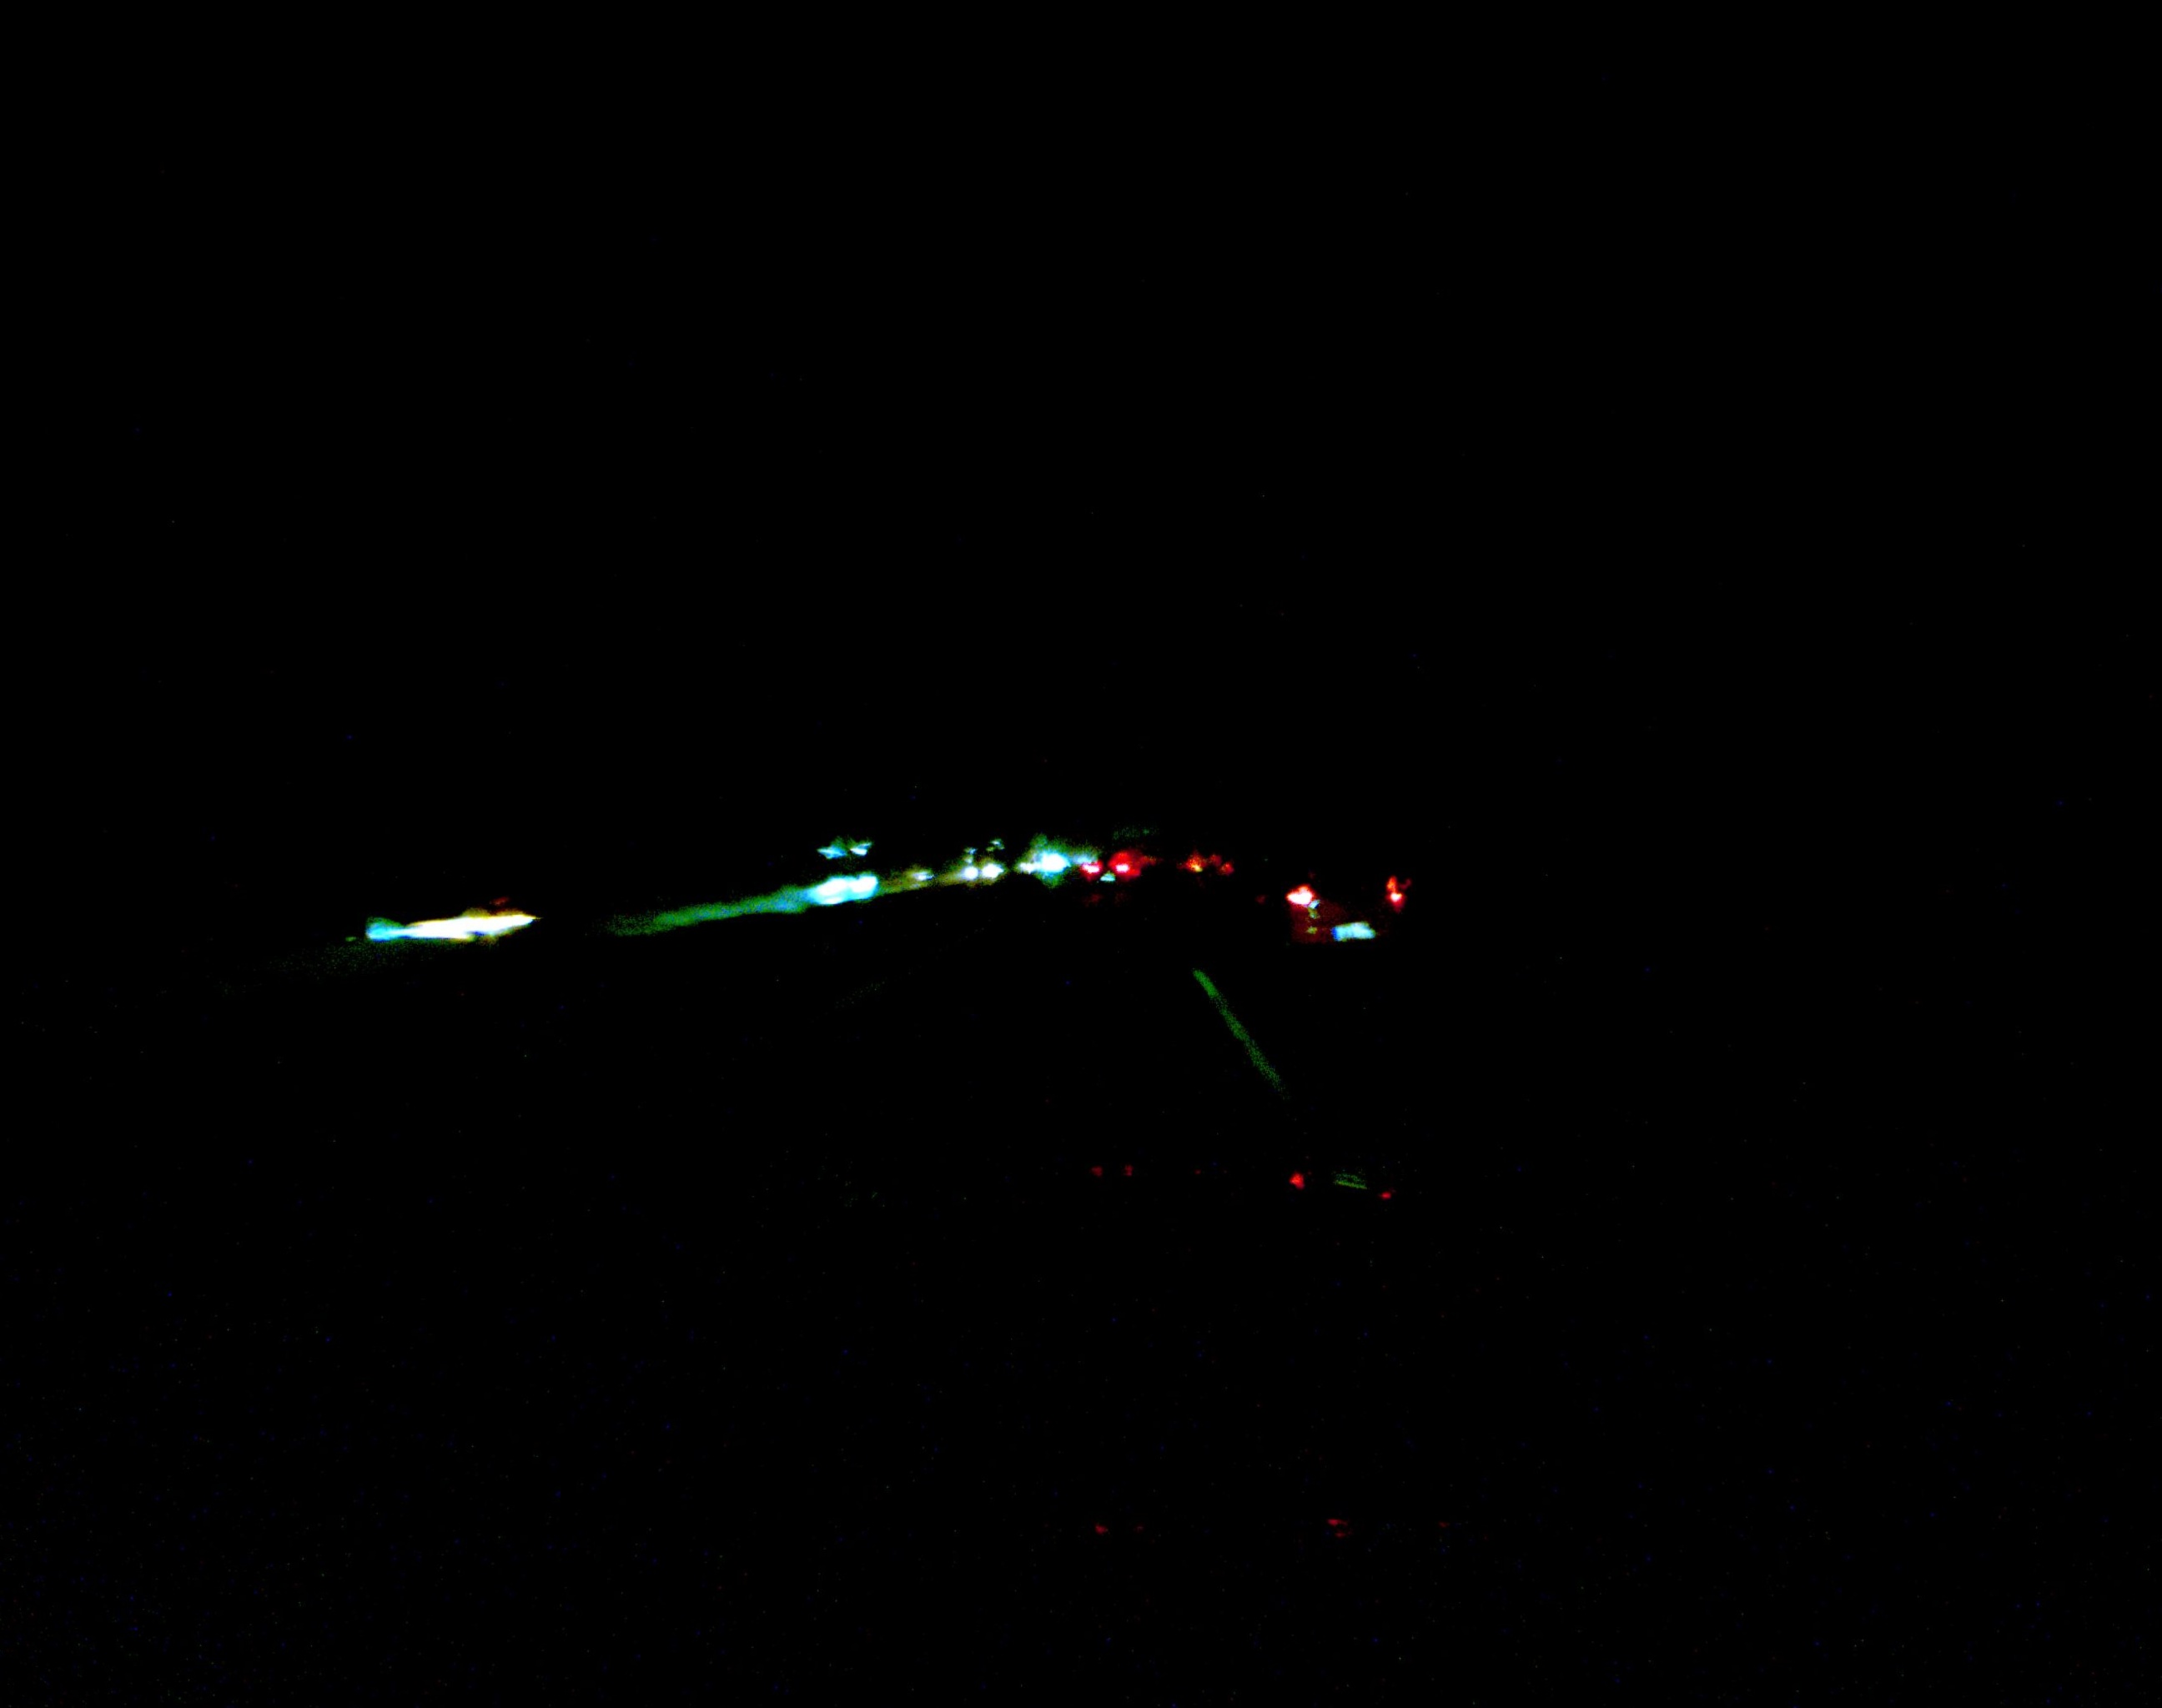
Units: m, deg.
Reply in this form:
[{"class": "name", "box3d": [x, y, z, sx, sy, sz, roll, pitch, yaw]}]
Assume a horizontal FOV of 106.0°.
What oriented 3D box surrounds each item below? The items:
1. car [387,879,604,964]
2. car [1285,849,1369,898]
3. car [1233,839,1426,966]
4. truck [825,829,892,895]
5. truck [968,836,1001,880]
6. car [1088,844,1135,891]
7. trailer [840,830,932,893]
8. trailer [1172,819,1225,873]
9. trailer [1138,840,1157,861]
[{"class": "car", "box3d": [-14.814, 1.616, 21.069, 1.987, 1.774, 4.958, -1, -1, 0]}, {"class": "car", "box3d": [8.346, 0.626, 28.000, 1.634, 1.503, 4.013, -2, 0, 0]}, {"class": "car", "box3d": [3.600, 0.669, 12.697, 1.734, 1.575, 4.495, -2, -1, 2]}, {"class": "truck", "box3d": [-14.903, 0.535, 54.971, 2.680, 4.221, 5.738, -1, 0, 2]}, {"class": "truck", "box3d": [-9.966, 0.437, 84.543, 2.681, 4.381, 5.736, -1, 0, 1]}, {"class": "car", "box3d": [1.365, 0.591, 37.419, 1.986, 2.013, 4.001, -1, 0, 1]}, {"class": "trailer", "box3d": [-14.560, 0.559, 62.716, 2.680, 4.221, 15.652, -1, 0, 2]}, {"class": "trailer", "box3d": [10.048, -0.558, 71.185, 2.892, 4.109, 14.493, -3, -1, 2]}, {"class": "trailer", "box3d": [15.061, -0.670, 184.804, 3.031, 4.109, 13.828, -3, -2, 1]}]
